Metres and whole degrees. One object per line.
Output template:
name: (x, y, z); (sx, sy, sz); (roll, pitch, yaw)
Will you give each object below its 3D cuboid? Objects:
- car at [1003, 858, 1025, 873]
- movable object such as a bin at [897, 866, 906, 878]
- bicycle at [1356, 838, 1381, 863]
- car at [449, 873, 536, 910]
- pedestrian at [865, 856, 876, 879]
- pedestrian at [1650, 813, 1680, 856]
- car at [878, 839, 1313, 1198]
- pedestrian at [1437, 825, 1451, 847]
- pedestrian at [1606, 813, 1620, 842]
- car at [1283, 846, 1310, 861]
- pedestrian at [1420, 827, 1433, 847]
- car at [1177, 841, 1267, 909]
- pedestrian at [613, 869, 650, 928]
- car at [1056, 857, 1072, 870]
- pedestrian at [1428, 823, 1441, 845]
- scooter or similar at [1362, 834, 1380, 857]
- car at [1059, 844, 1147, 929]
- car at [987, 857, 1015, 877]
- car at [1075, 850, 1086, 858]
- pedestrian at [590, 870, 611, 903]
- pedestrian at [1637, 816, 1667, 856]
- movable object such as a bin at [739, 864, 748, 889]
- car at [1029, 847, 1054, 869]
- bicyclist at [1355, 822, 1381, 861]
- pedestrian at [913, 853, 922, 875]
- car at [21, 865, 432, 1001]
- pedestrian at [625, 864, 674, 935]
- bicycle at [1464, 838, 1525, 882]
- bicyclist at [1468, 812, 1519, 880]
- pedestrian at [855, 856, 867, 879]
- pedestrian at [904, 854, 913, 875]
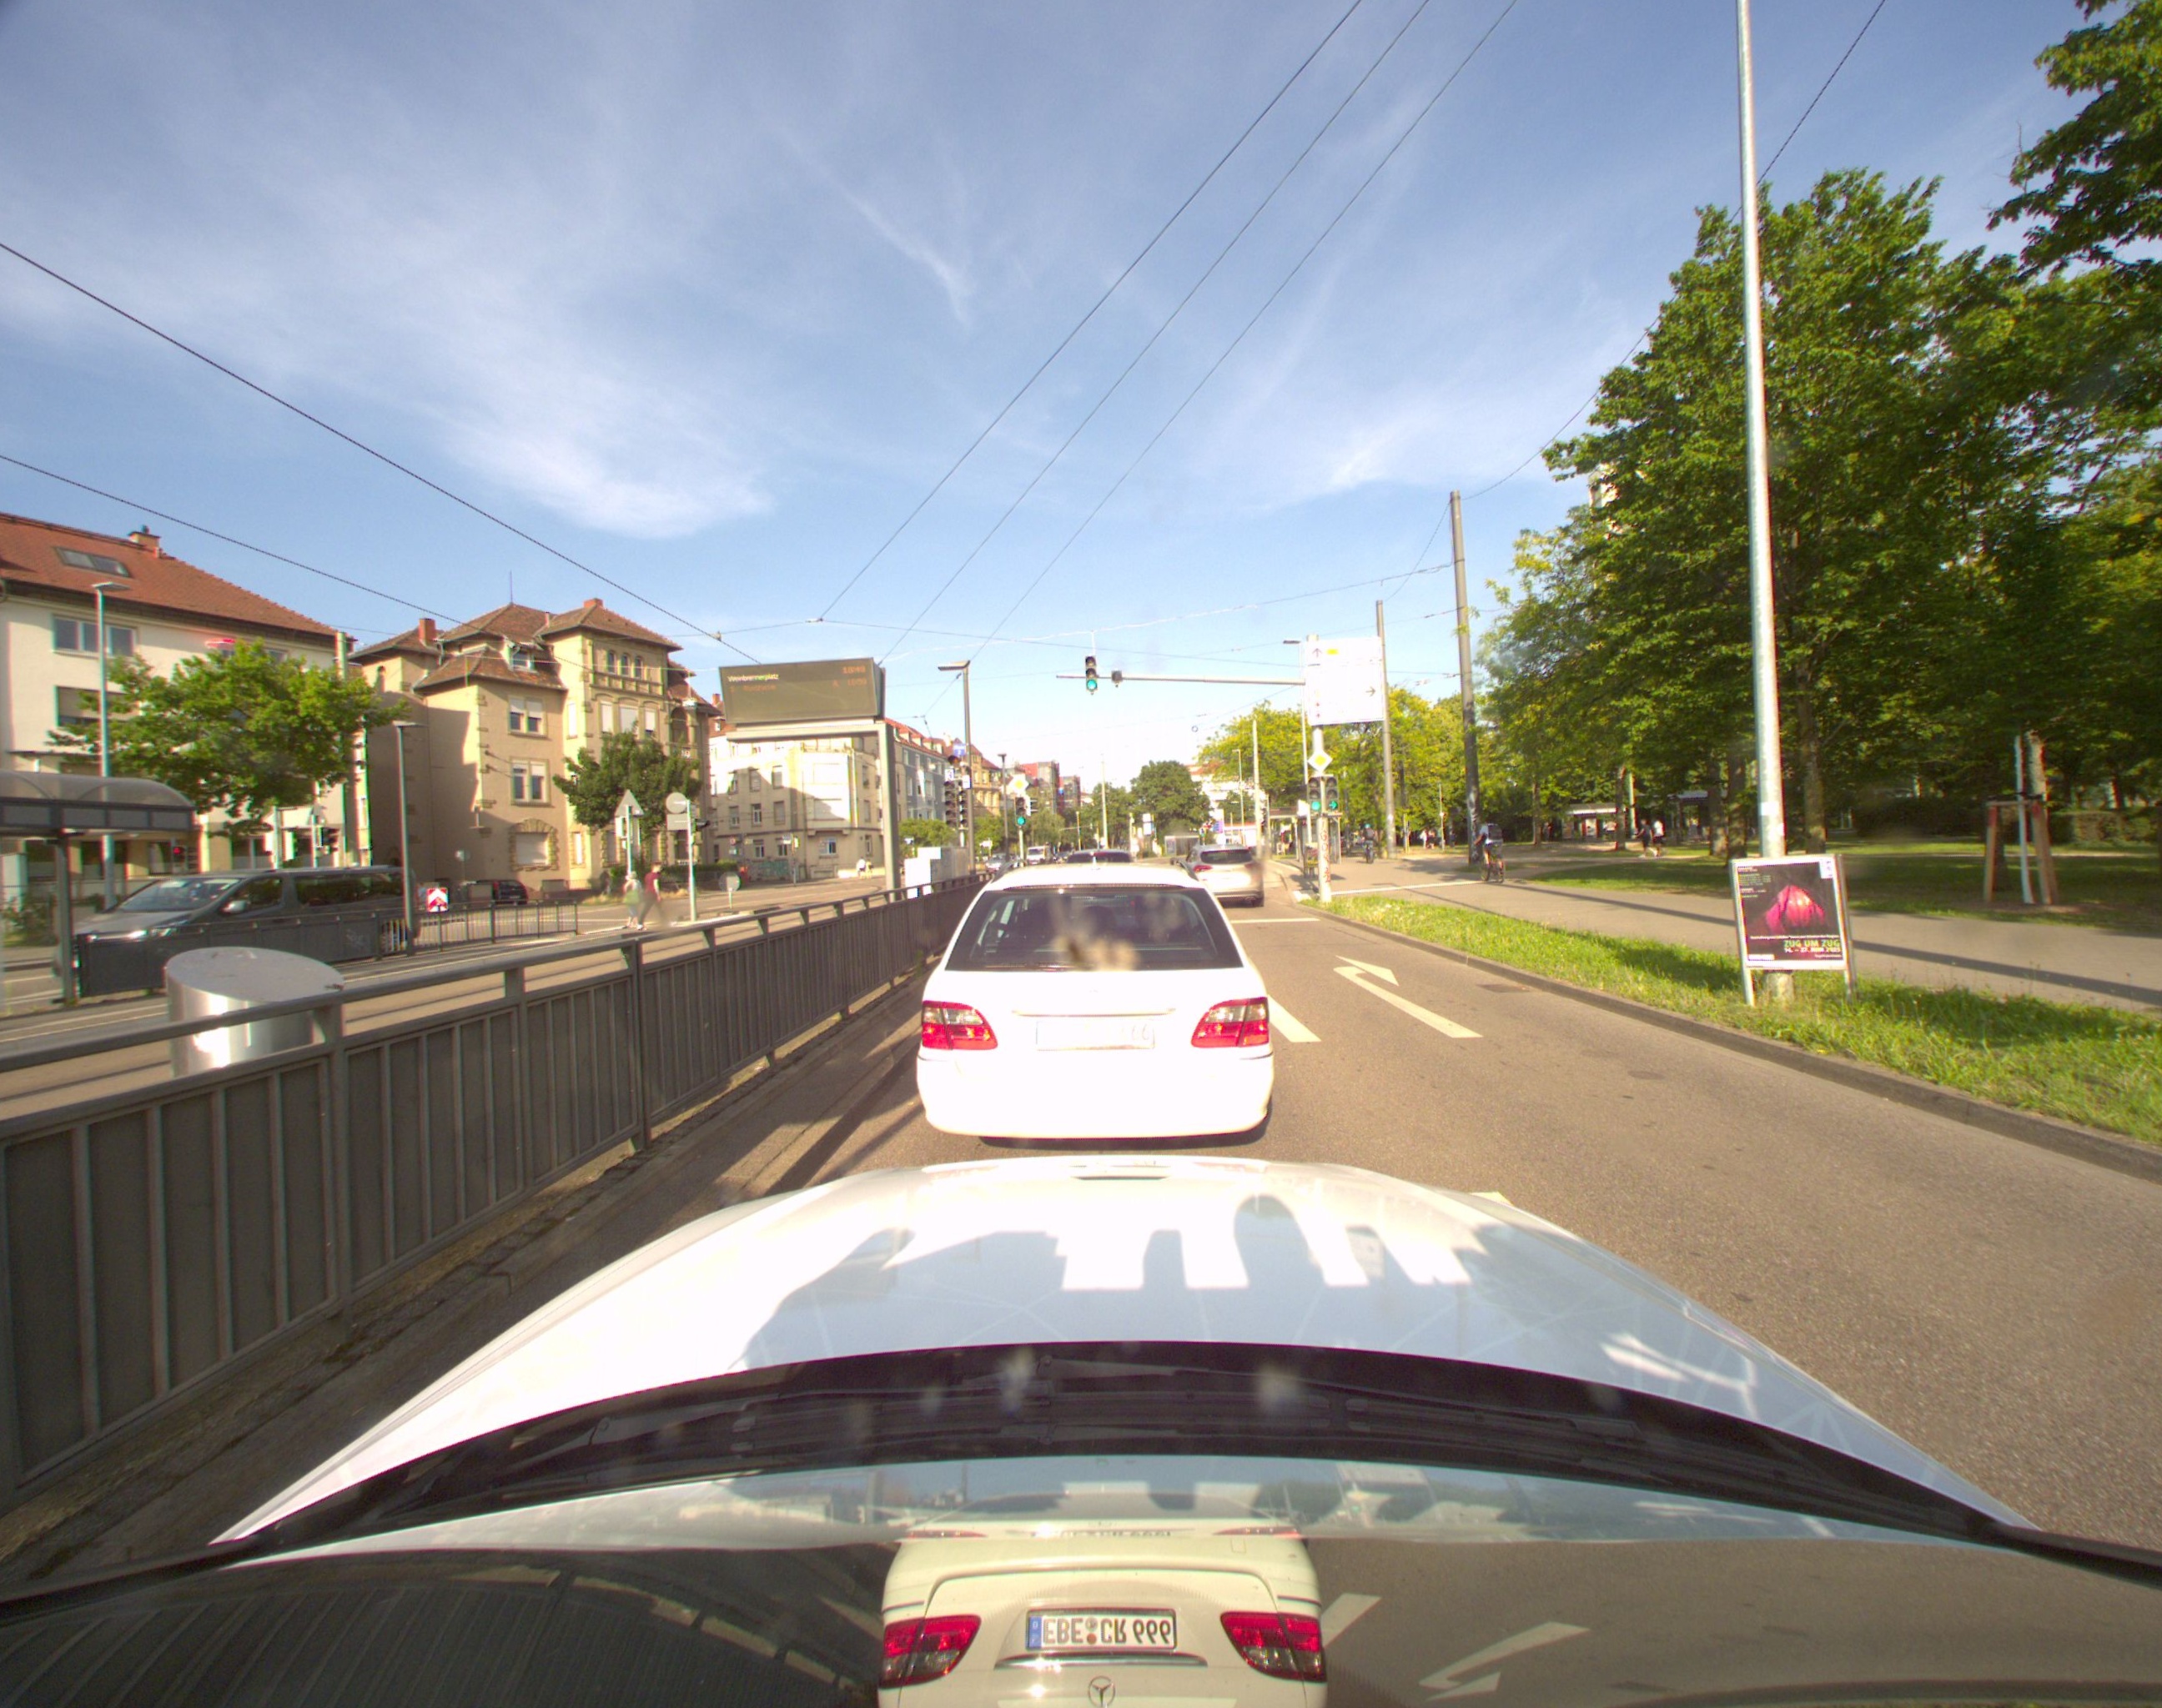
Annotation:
car: (-7.423, 1.274, 90.327); (1.786, 1.457, 4.004); (-3, 0, 3)
movable object such as a bin: (-15.902, 1.585, 72.154); (0.580, 0.947, 0.663); (-3, 0, 3)
bicycle: (13.446, -0.167, 38.116); (0.637, 1.088, 1.736); (-5, 0, 6)
car: (-29.357, 1.882, 40.620); (3.950, 1.632, 1.787); (-3, 1, 26)
pedestrian: (-17.634, 1.122, 68.198); (0.672, 1.848, 0.649); (-3, 0, -1)
pedestrian: (26.237, -0.861, 36.592); (0.671, 1.897, 0.876); (0, 0, -11)
car: (0.118, 0.697, 5.386); (1.828, 1.501, 3.817); (-1, 0, 2)
pedestrian: (27.673, -1.351, 62.078); (0.638, 1.665, 0.691); (-3, 0, 1)
pedestrian: (34.416, -1.708, 52.654); (0.463, 1.868, 0.600); (0, -1, -30)
car: (24.951, -0.026, 94.129); (1.835, 1.515, 4.026); (-4, 0, 32)
pedestrian: (27.205, -1.336, 64.112); (0.638, 1.610, 0.691); (-3, 0, 1)
car: (3.637, 0.498, 21.656); (1.828, 1.600, 3.817); (-1, 0, 2)
pedestrian: (-12.478, 1.221, 22.622); (0.588, 1.589, 0.715); (-3, 0, -2)
car: (-2.187, 1.220, 107.696); (1.760, 1.494, 4.746); (-3, 2, 1)
pedestrian: (27.448, -1.536, 63.258); (0.638, 1.665, 0.691); (-3, 0, 1)
scooter or similar: (16.121, -0.448, 45.228); (0.351, 1.232, 1.131); (-3, 0, -12)
car: (0.479, 0.614, 17.457); (1.635, 1.600, 3.817); (-1, 0, 2)
car: (-7.036, 1.152, 71.662); (1.669, 1.525, 4.130); (-3, 1, 4)
car: (-0.058, -0.029, 147.396); (1.626, 1.433, 3.634); (-3, 0, 6)
pedestrian: (-24.809, 1.661, 42.059); (0.672, 1.651, 0.608); (-3, 0, 28)
pedestrian: (25.519, -0.807, 36.405); (0.671, 1.777, 0.876); (-1, 0, -11)
movable object such as a bin: (-23.517, 1.535, 56.767); (0.265, 1.709, 2.360); (-3, 0, -29)
car: (-4.320, 0.367, 89.336); (2.168, 2.239, 5.257); (-3, 0, 3)
bicyclist: (13.393, -0.583, 38.040); (0.716, 1.745, 1.142); (-6, 0, 5)
pedestrian: (-14.382, 0.870, 71.713); (0.582, 1.881, 0.626); (-3, 0, -1)
car: (-16.042, 1.316, 15.925); (2.137, 2.013, 5.389); (-3, 0, 2)
pedestrian: (-10.757, 1.113, 20.291); (0.888, 1.670, 0.664); (-3, 0, -40)
bicycle: (11.234, 0.162, 22.187); (0.638, 1.088, 1.940); (-5, 0, 1)
bicyclist: (11.183, -0.208, 22.112); (0.647, 1.745, 1.140); (-6, 0, 1)
pedestrian: (-18.416, 1.155, 68.090); (0.653, 1.881, 0.629); (-3, 0, 16)
pedestrian: (-15.143, 0.923, 71.575); (0.582, 1.881, 0.626); (-3, 0, 0)
